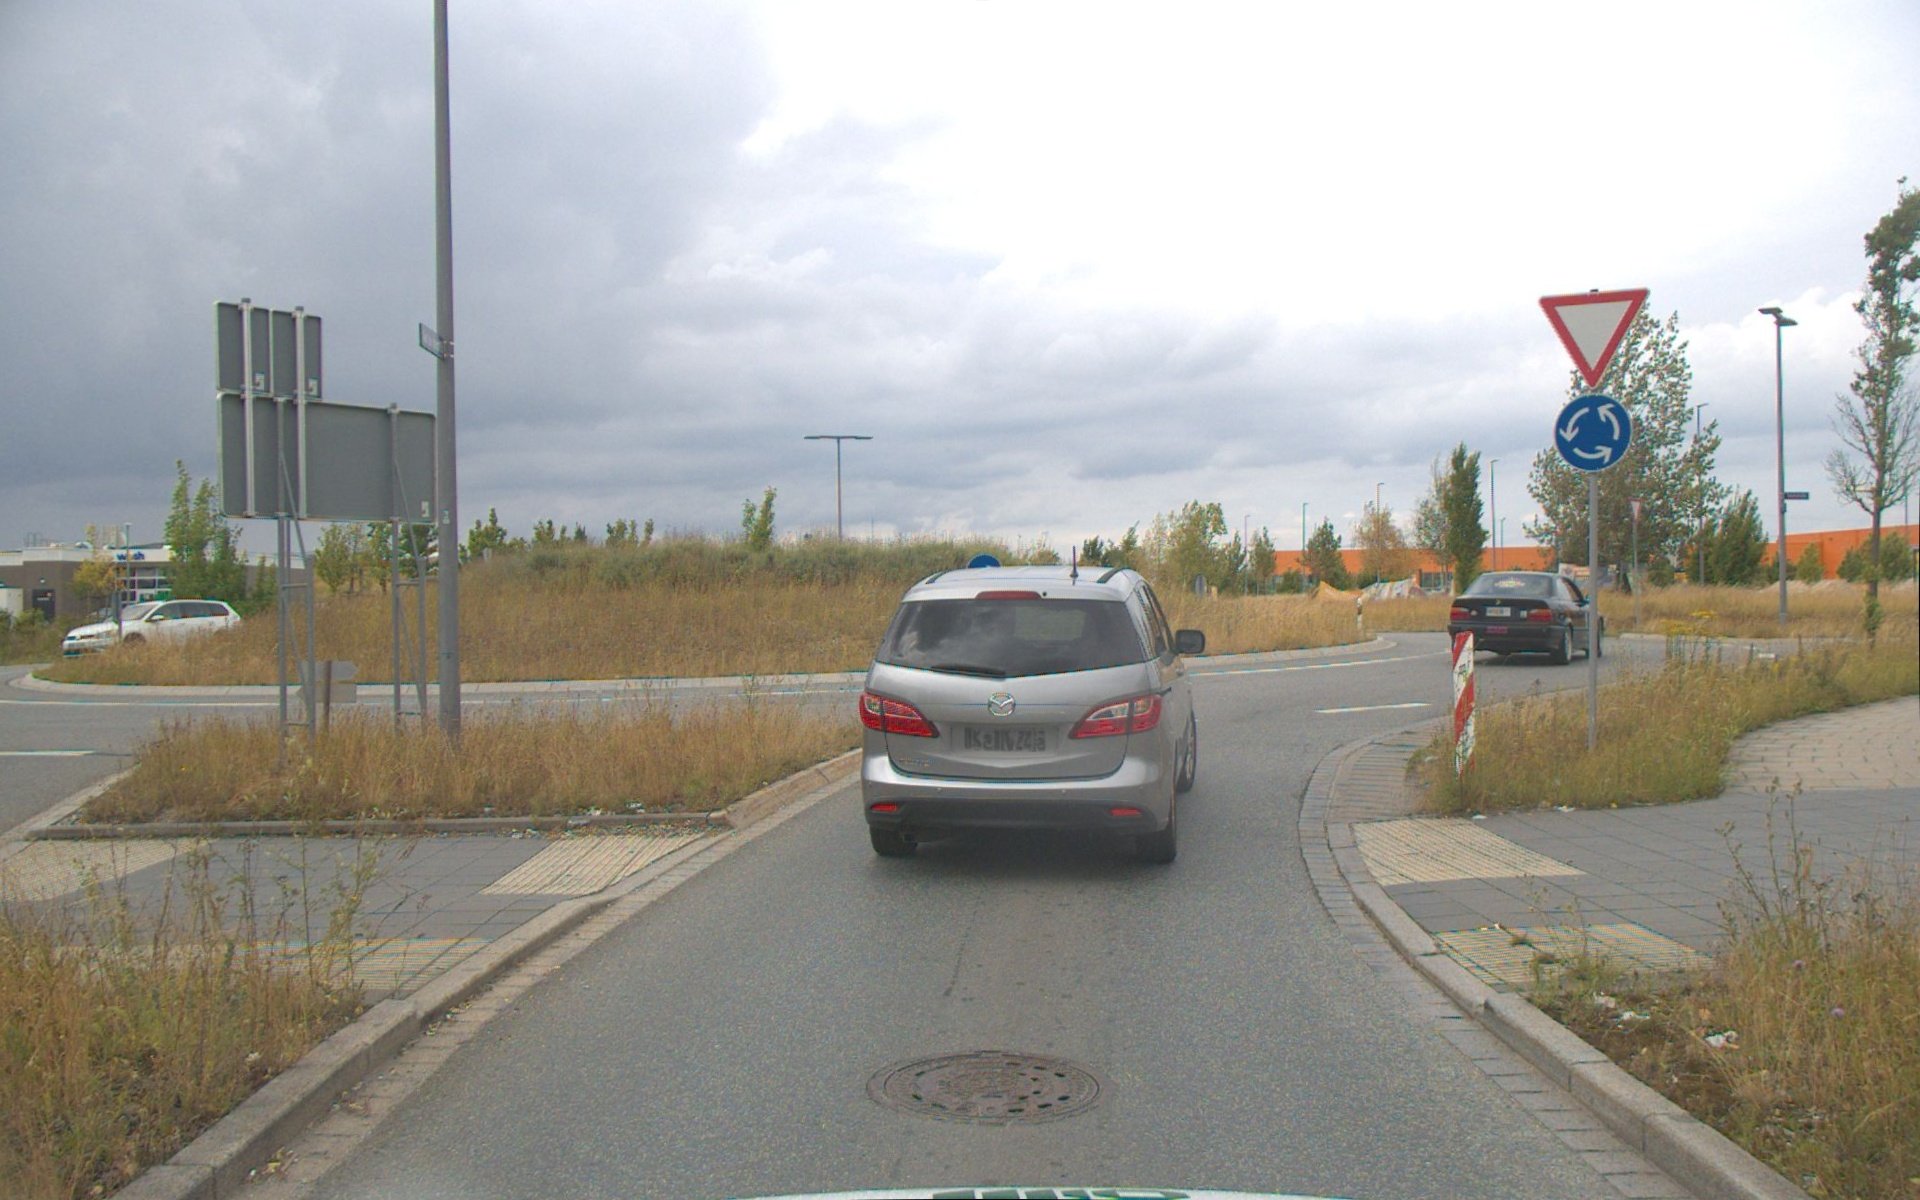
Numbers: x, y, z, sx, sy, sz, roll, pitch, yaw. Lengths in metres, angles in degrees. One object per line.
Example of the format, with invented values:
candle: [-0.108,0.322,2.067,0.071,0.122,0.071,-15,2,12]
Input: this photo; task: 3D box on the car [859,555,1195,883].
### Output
car: [0.595,0.536,10.339,1.701,1.626,4.001,0,2,8]

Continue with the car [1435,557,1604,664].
car: [8.590,0.092,25.194,1.705,1.428,3.991,1,3,30]

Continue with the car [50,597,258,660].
car: [-19.683,0.720,40.628,1.687,1.433,4.642,0,-2,22]
